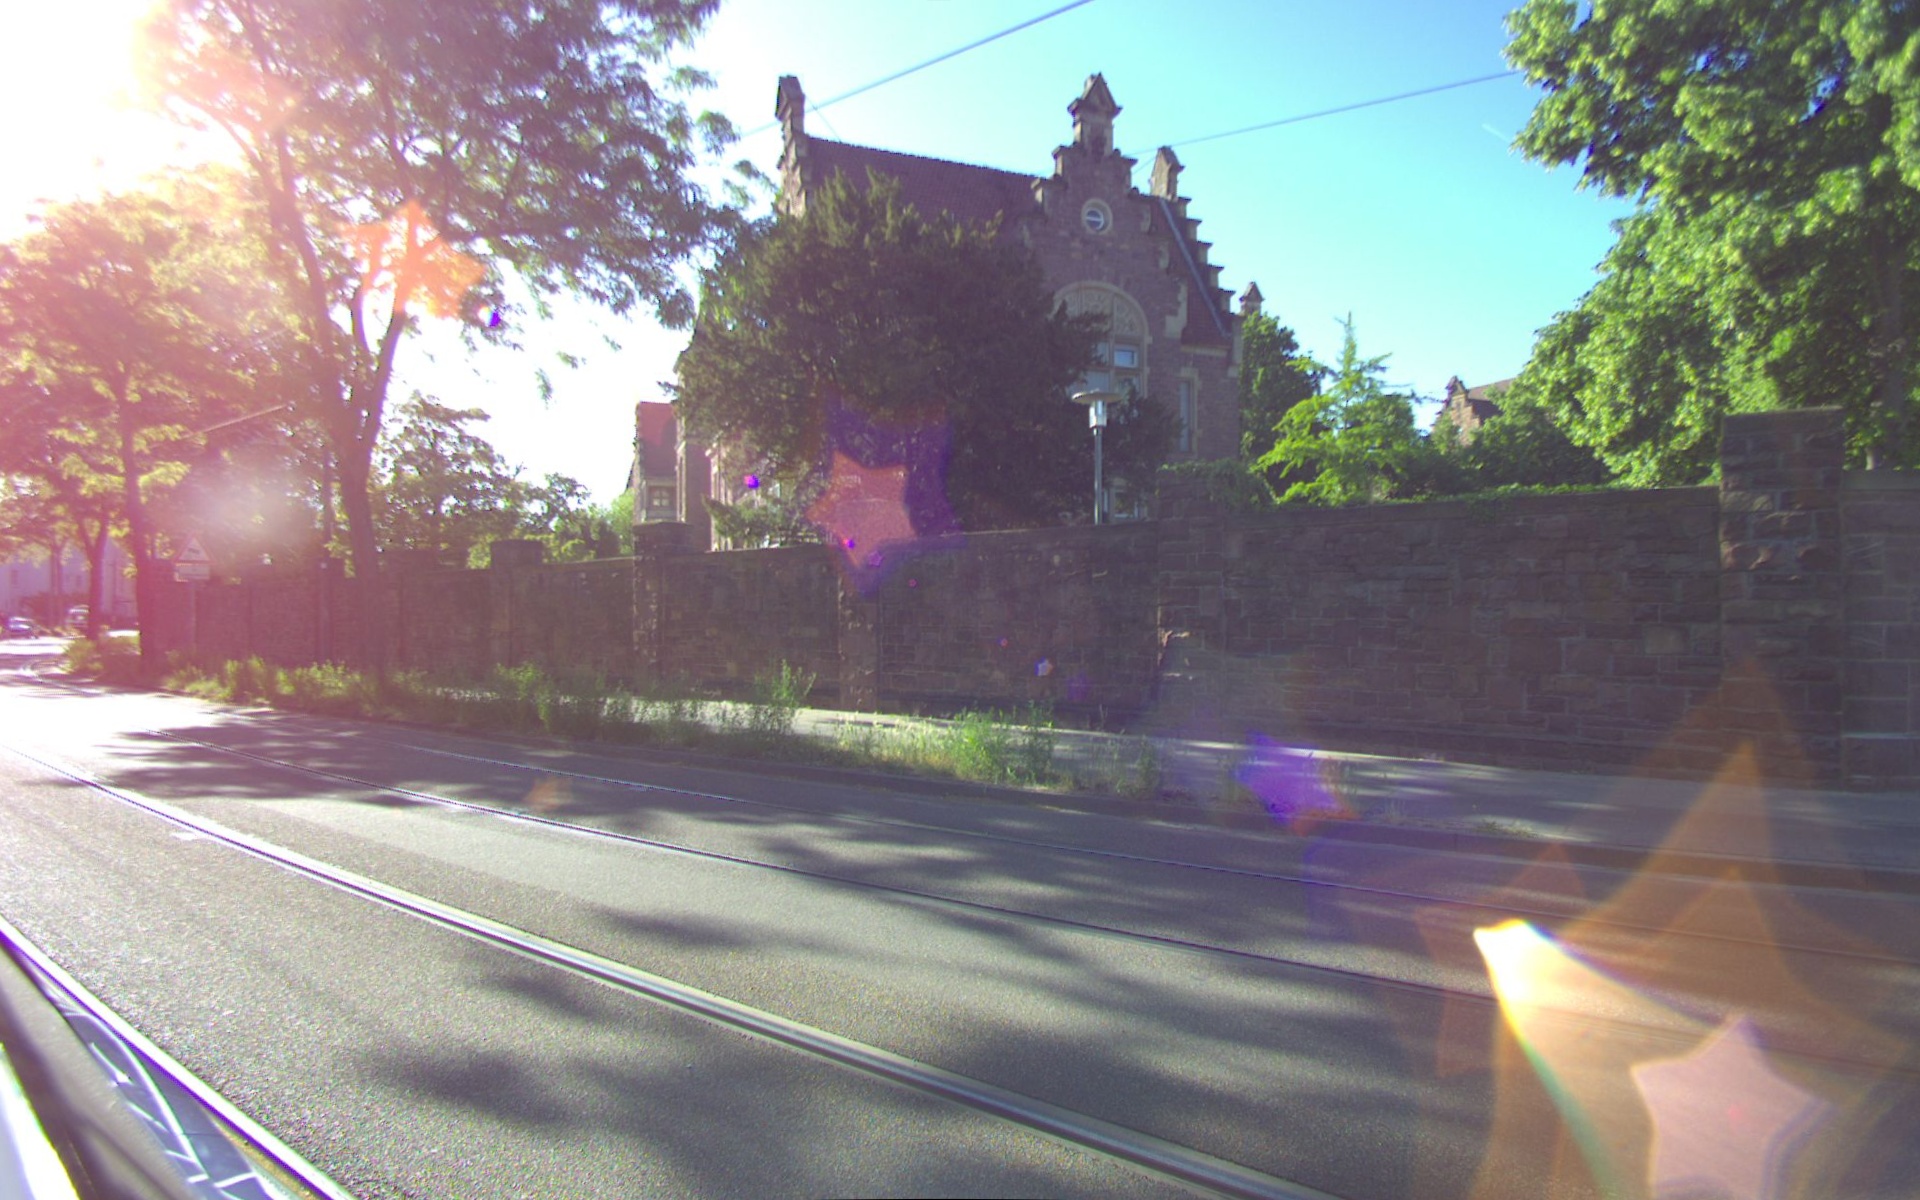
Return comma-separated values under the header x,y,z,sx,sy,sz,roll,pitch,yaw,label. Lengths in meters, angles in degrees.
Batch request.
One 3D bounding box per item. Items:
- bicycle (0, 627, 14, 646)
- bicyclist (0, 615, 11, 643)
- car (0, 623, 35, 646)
x,y,z,sx,sy,sz,roll,pitch,yaw,label
-57.502,2.169,60.787,0.579,1.120,1.861,0,-1,-30,bicycle
-57.487,1.751,60.734,0.633,1.653,0.667,-1,0,-31,bicyclist
-68.907,2.505,73.835,1.969,1.560,4.005,0,-1,-41,car
